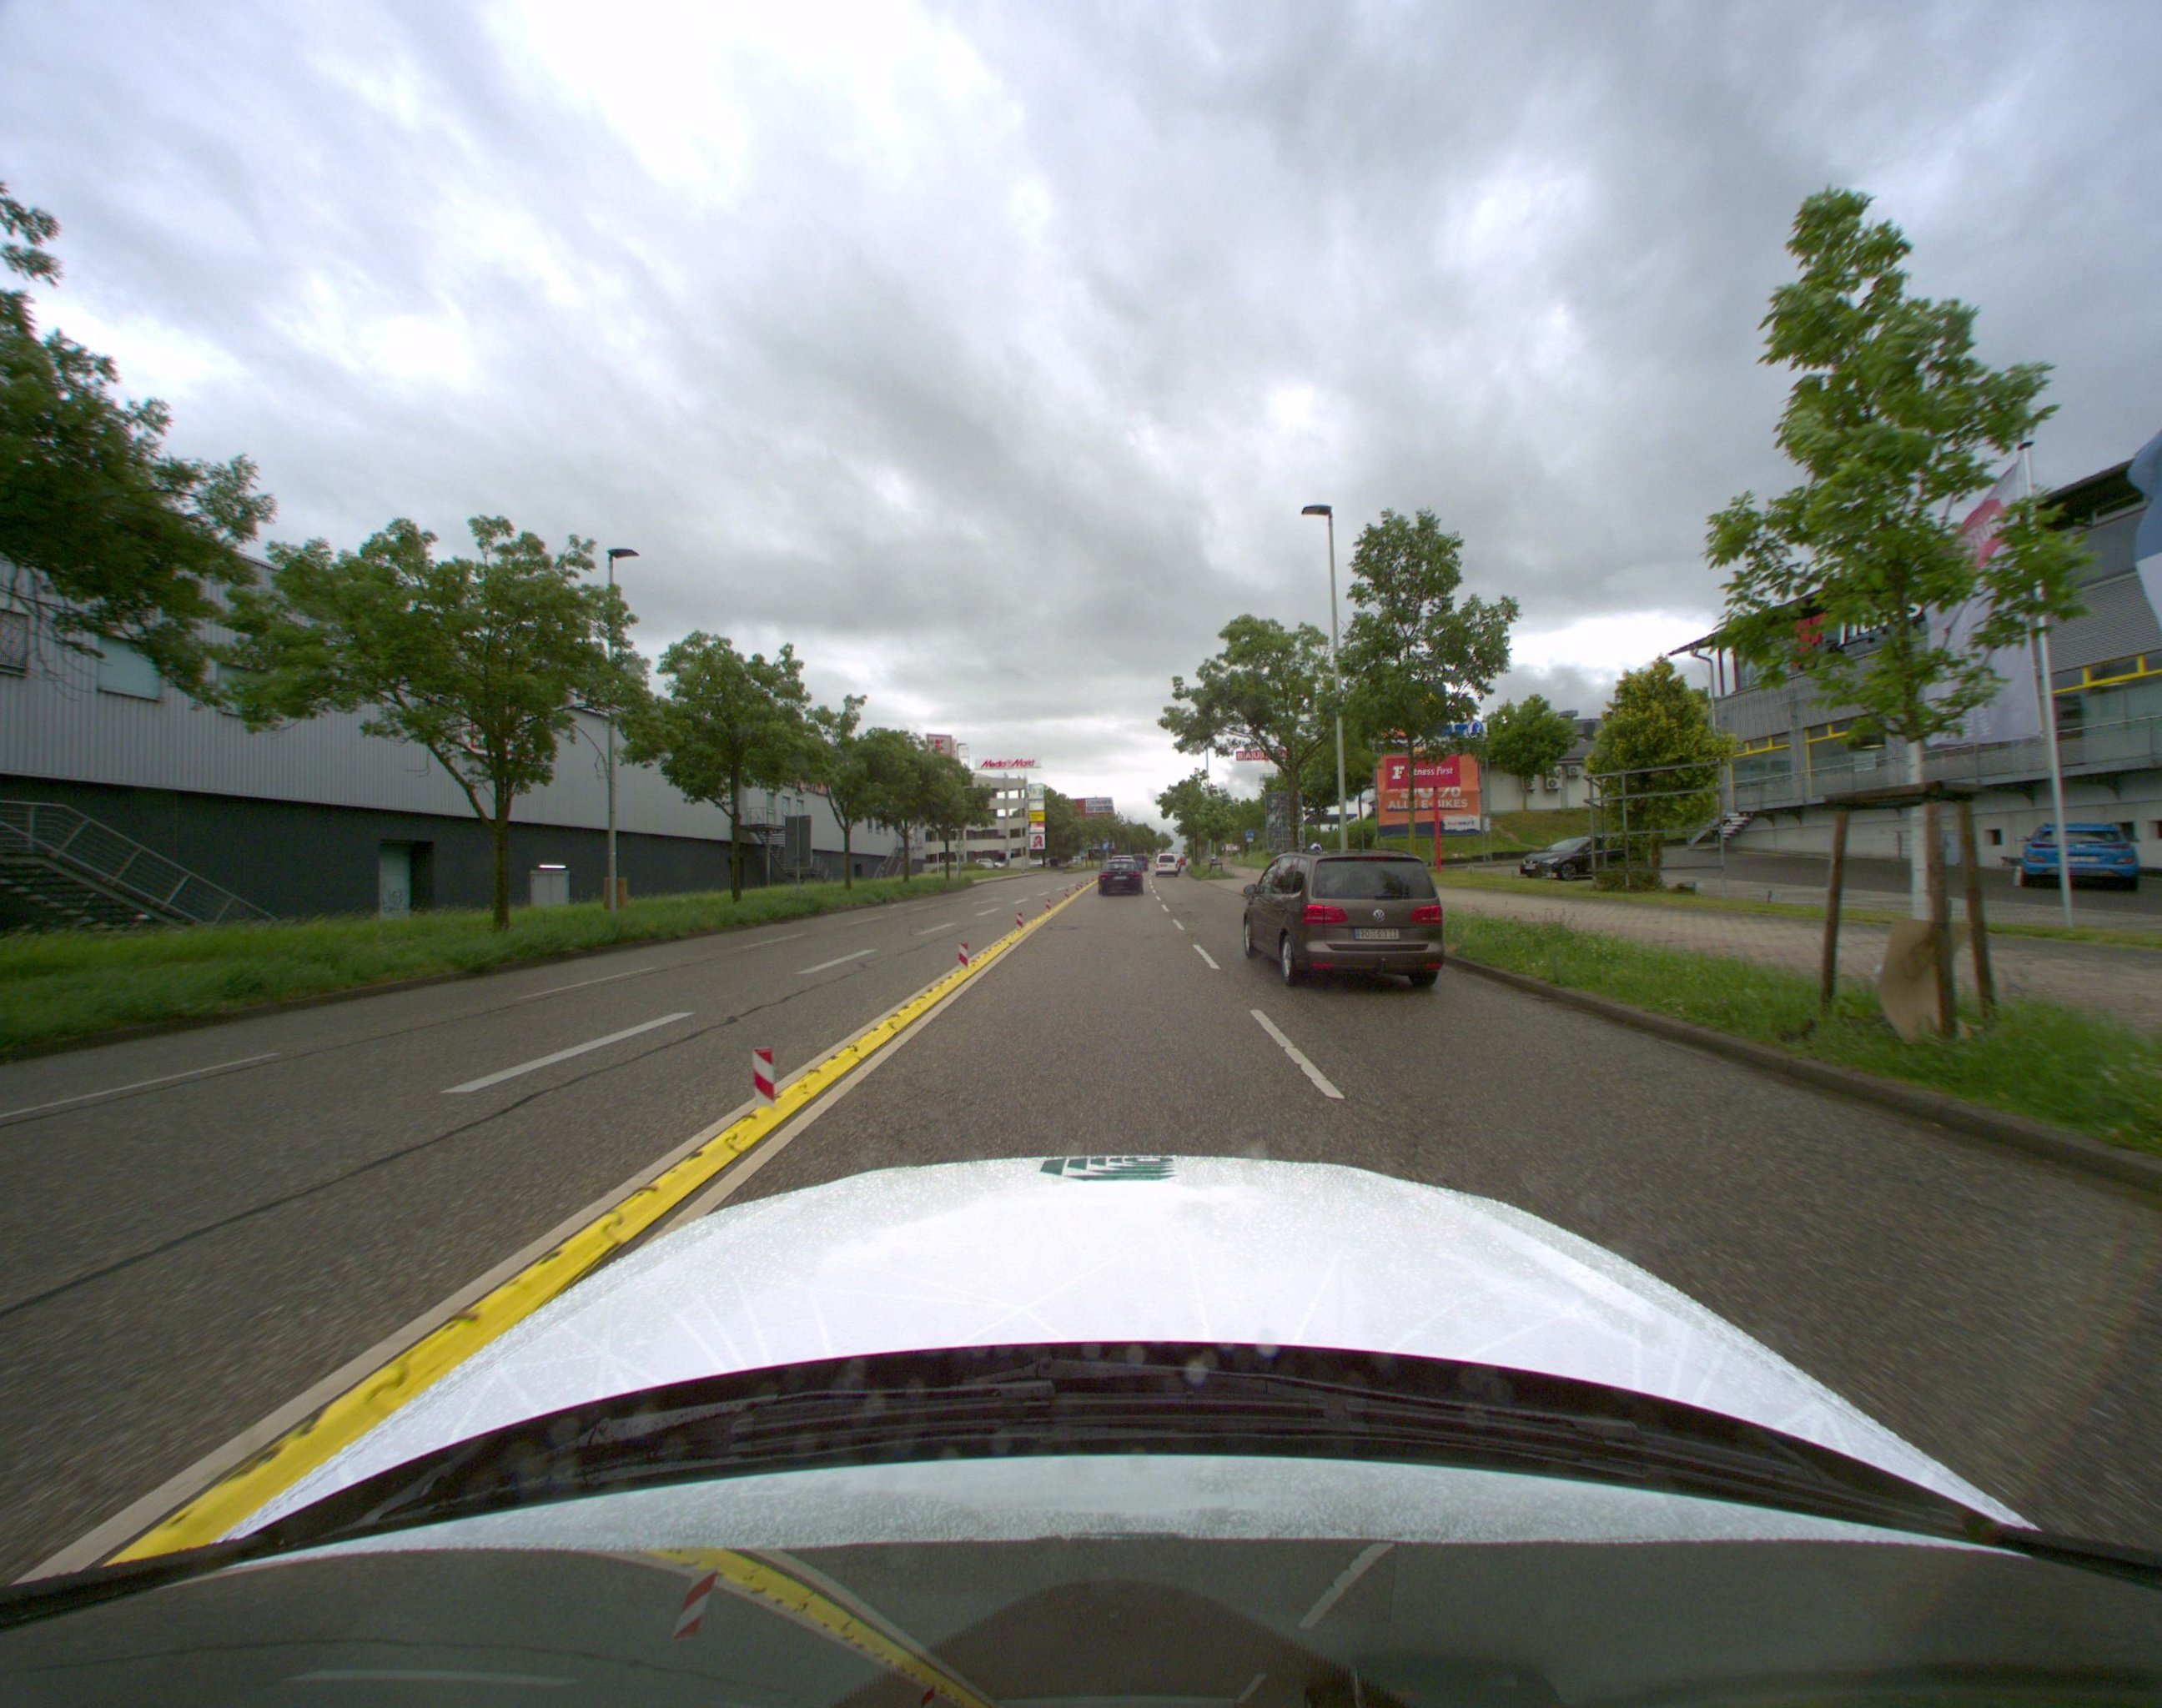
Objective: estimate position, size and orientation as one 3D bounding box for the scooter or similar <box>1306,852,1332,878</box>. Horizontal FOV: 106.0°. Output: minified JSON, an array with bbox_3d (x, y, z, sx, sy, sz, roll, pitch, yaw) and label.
[{"bbox_3d":[11.894,0.560,40.746,0.694,1.264,1.398,-4,-2,-5],"label":"scooter or similar"}]

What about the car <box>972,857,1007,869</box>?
[{"bbox_3d":[-12.595,1.281,112.002,4.375,1.408,1.914,-2,1,17],"label":"car"}]

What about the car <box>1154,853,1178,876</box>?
[{"bbox_3d":[6.645,0.781,63.954,1.818,1.759,4.005,0,0,5],"label":"car"}]

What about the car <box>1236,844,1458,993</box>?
[{"bbox_3d":[3.247,0.725,10.836,1.679,1.581,4.219,0,-1,1],"label":"car"}]

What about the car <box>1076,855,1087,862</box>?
[{"bbox_3d":[0.202,1.101,204.392,2.127,1.773,4.617,-1,1,7],"label":"car"}]

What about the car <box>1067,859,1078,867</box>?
[{"bbox_3d":[-1.794,1.877,169.055,1.924,1.608,4.717,-1,1,4],"label":"car"}]

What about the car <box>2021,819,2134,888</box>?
[{"bbox_3d":[25.468,-0.080,20.879,3.931,1.559,1.719,-3,2,-40],"label":"car"}]

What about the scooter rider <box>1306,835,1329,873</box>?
[{"bbox_3d":[11.849,0.014,40.832,0.694,1.820,0.856,-4,-2,-5],"label":"scooter rider"}]

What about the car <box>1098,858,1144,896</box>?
[{"bbox_3d":[1.685,0.913,34.283,1.819,1.468,4.003,-1,0,3],"label":"car"}]

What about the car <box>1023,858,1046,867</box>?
[{"bbox_3d":[-9.962,1.885,174.687,4.583,1.745,1.967,-1,1,0],"label":"car"}]

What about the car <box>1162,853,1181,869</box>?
[{"bbox_3d":[9.006,0.691,81.456,1.786,1.510,4.005,0,-1,5],"label":"car"}]

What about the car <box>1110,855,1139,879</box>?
[{"bbox_3d":[2.866,0.847,53.083,1.786,1.510,4.004,0,-1,4],"label":"car"}]

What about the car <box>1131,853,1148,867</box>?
[{"bbox_3d":[6.348,0.661,88.946,1.786,1.510,4.004,0,-1,4],"label":"car"}]

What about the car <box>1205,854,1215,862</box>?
[{"bbox_3d":[26.356,0.810,166.697,1.786,1.510,4.005,0,-1,5],"label":"car"}]

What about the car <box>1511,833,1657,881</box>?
[{"bbox_3d":[16.980,0.052,27.548,4.092,1.438,1.791,-2,2,-11],"label":"car"}]
